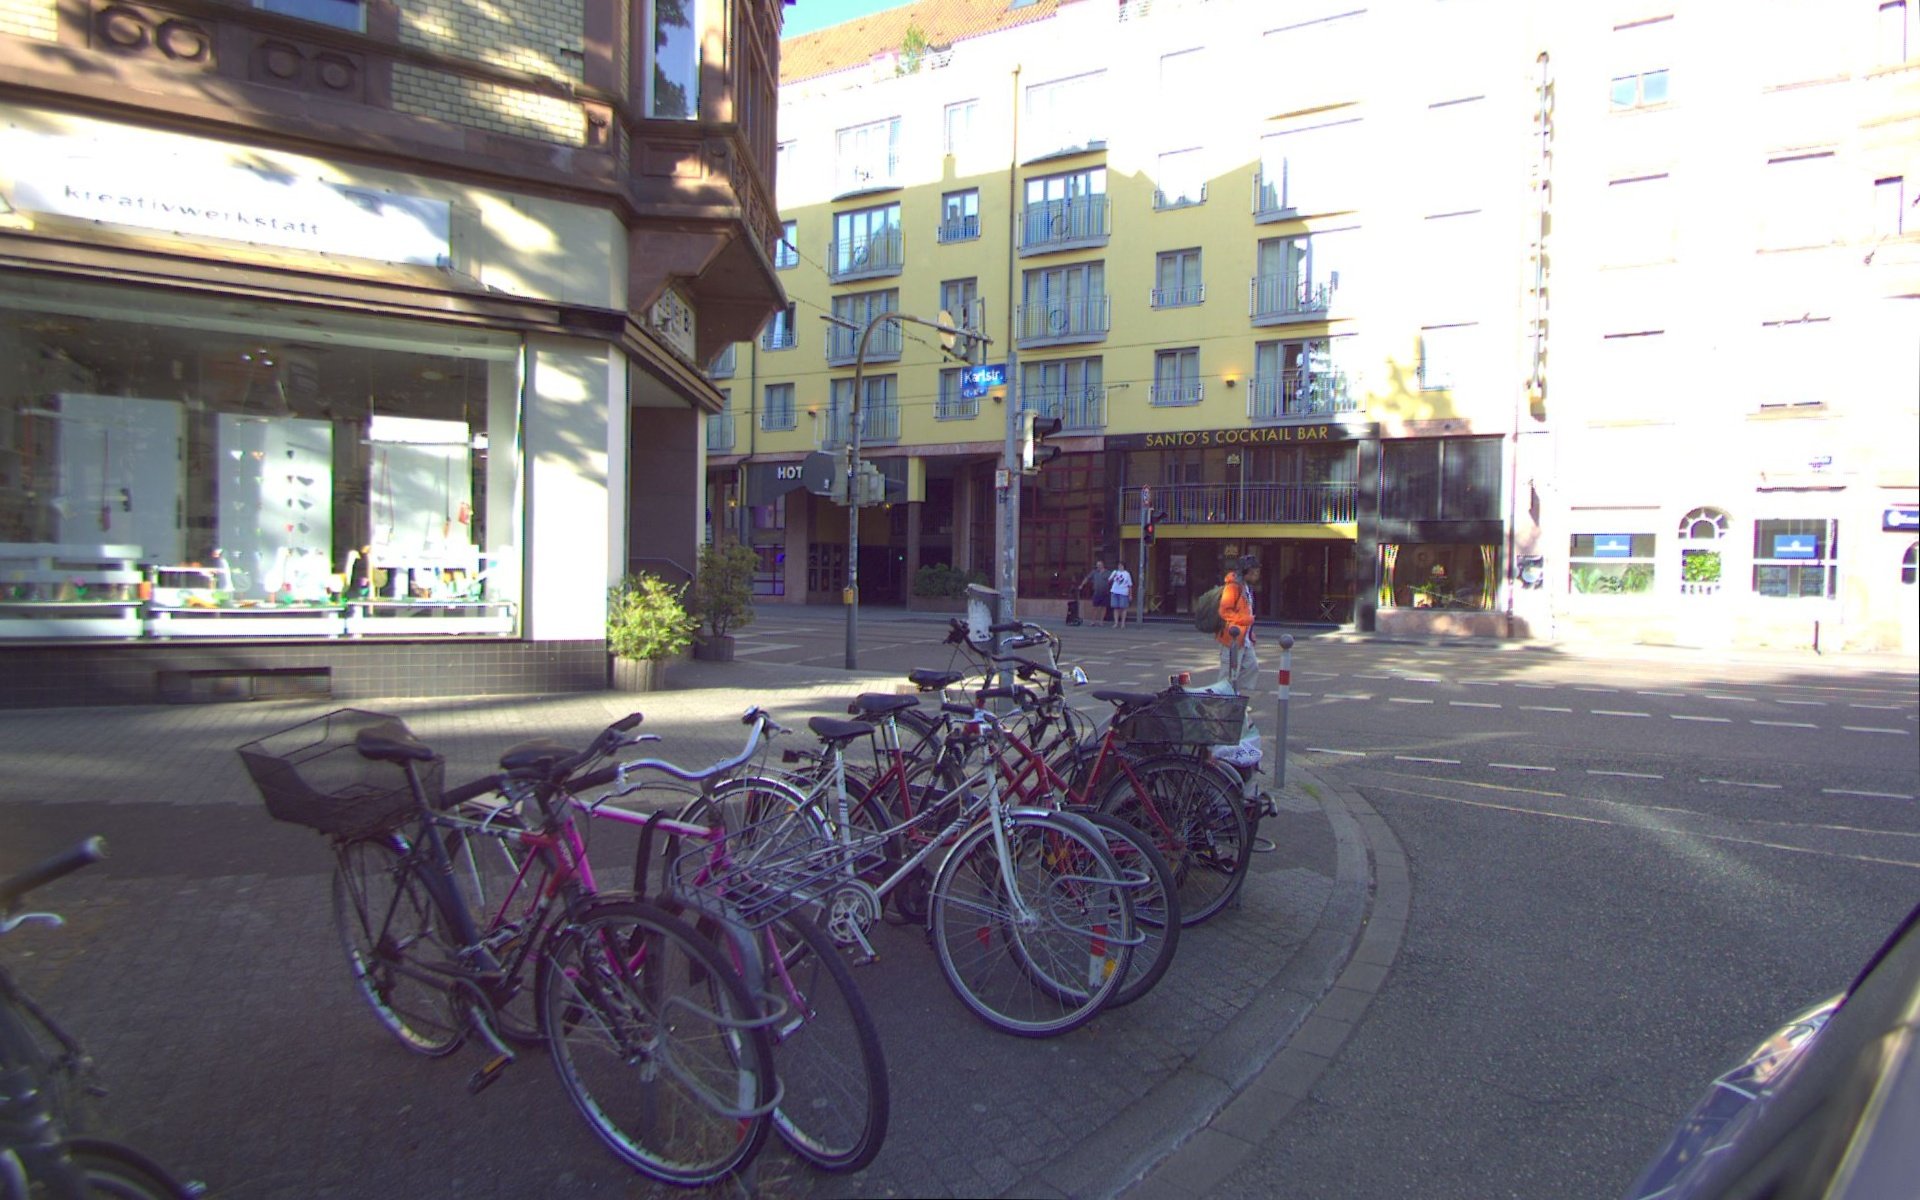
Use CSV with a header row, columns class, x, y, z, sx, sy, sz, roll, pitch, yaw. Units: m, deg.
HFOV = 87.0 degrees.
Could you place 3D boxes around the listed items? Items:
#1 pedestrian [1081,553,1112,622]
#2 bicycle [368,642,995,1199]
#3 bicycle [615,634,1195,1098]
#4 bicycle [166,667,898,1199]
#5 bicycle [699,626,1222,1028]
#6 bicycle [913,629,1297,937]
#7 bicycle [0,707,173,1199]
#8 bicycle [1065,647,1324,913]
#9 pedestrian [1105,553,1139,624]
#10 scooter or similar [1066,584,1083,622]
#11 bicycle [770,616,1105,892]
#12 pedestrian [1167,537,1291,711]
class,x,y,z,sx,sy,sz,roll,pitch,yaw
pedestrian,3.776,-0.358,28.010,0.672,1.862,0.720,2,5,27
bicycle,-0.874,0.768,2.885,1.917,1.106,0.421,4,4,26
bicycle,-0.247,0.755,3.350,1.916,1.106,0.422,4,4,24
bicycle,-1.118,0.810,2.466,1.917,1.064,0.499,4,4,26
bicycle,-0.059,0.736,3.769,1.916,1.106,0.422,4,4,24
bicycle,0.564,0.723,4.179,1.450,1.106,0.425,2,4,3
bicycle,-1.922,0.814,1.783,1.929,0.999,0.489,6,5,41
bicycle,1.133,0.796,4.921,0.995,1.039,0.727,2,2,41
pedestrian,4.394,-0.333,27.415,0.728,1.862,0.720,2,5,27
scooter or similar,3.168,0.078,28.023,0.353,0.988,0.420,1,5,25
bicycle,-0.096,0.684,4.761,1.451,1.106,0.574,2,4,4
pedestrian,2.775,0.213,10.570,1.155,1.700,1.004,1,1,12
